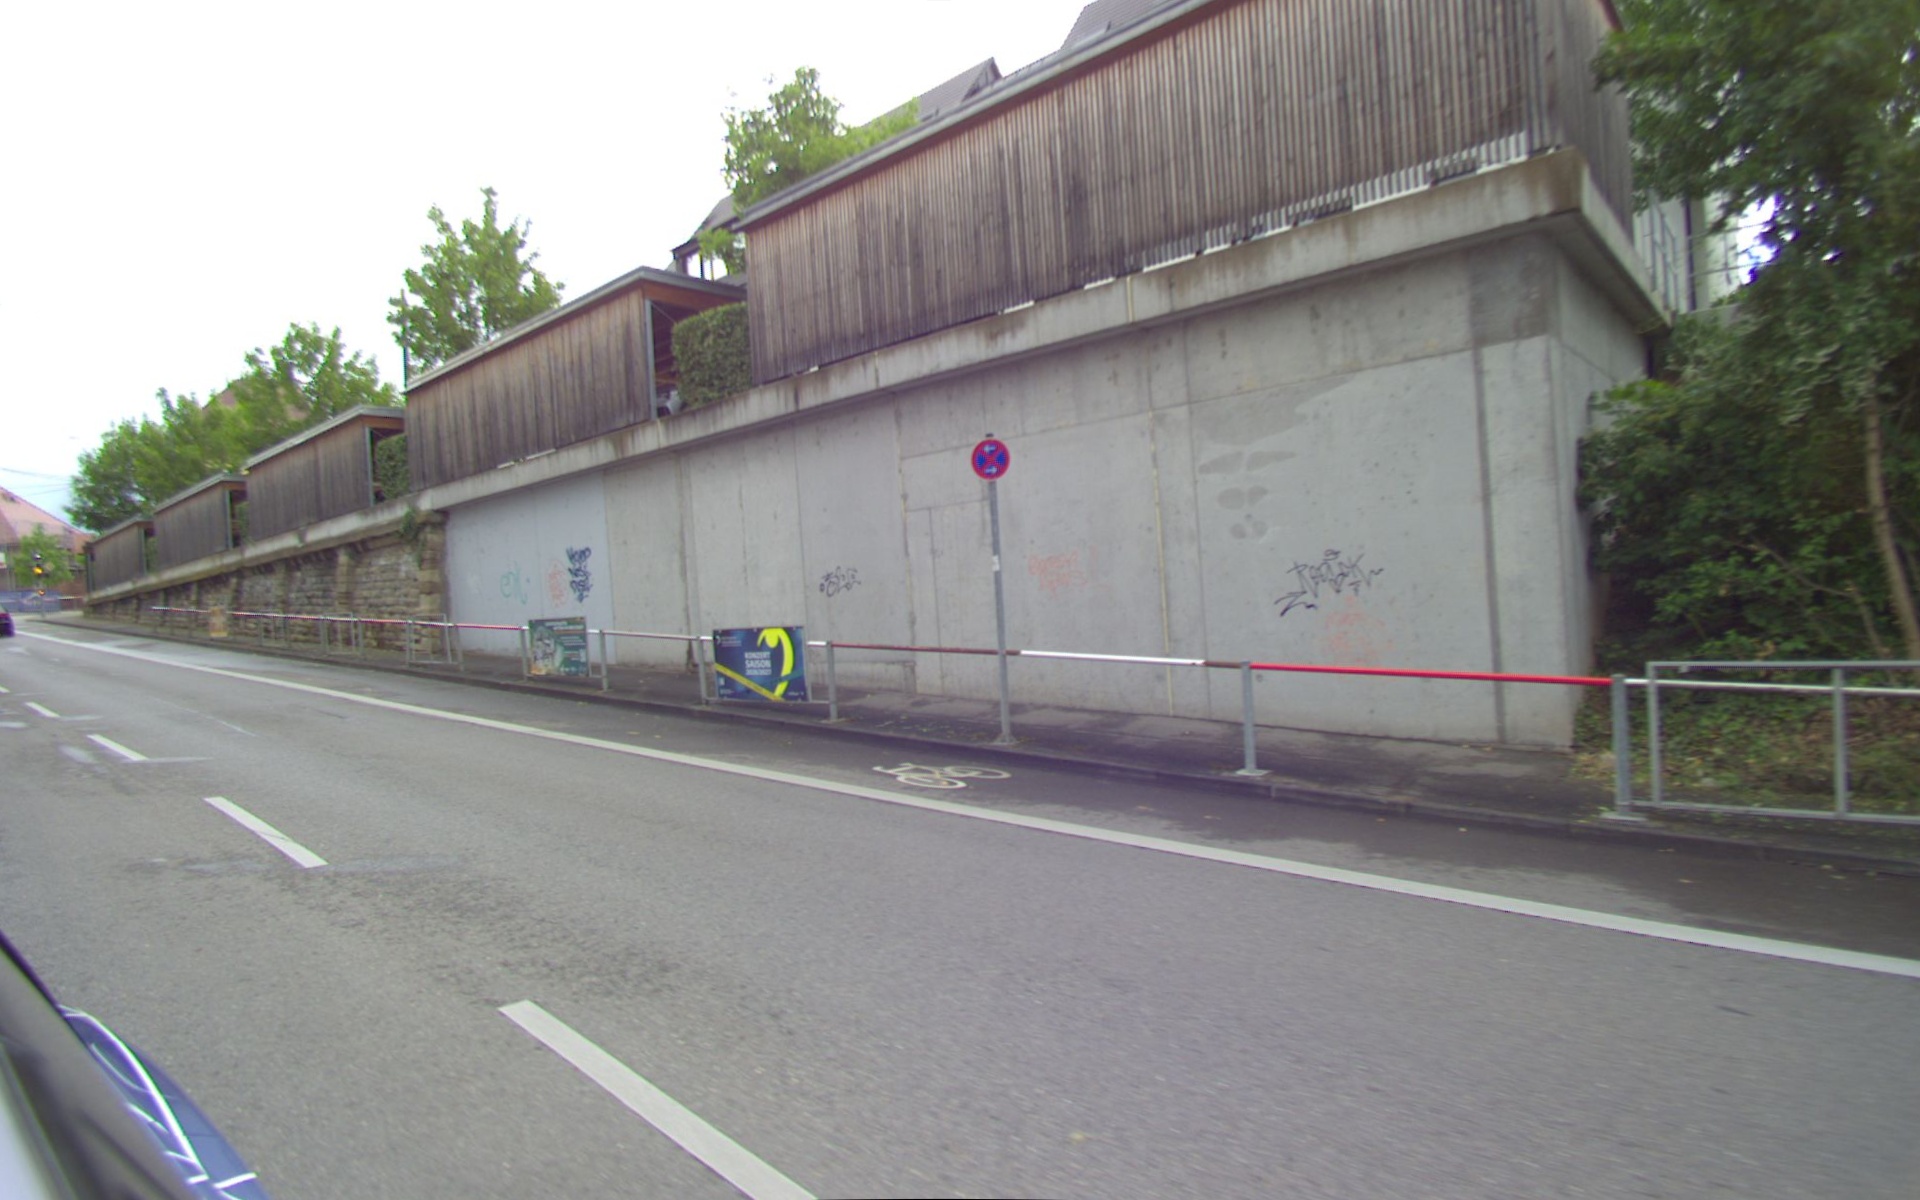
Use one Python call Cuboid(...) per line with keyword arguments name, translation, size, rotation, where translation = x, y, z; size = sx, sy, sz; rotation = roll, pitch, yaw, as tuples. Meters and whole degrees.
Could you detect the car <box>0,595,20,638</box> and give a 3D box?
Cuboid(name="car", translation=(-40.237, 0.685, 41.690), size=(3.879, 1.729, 1.831), rotation=(-1, 0, 41))
